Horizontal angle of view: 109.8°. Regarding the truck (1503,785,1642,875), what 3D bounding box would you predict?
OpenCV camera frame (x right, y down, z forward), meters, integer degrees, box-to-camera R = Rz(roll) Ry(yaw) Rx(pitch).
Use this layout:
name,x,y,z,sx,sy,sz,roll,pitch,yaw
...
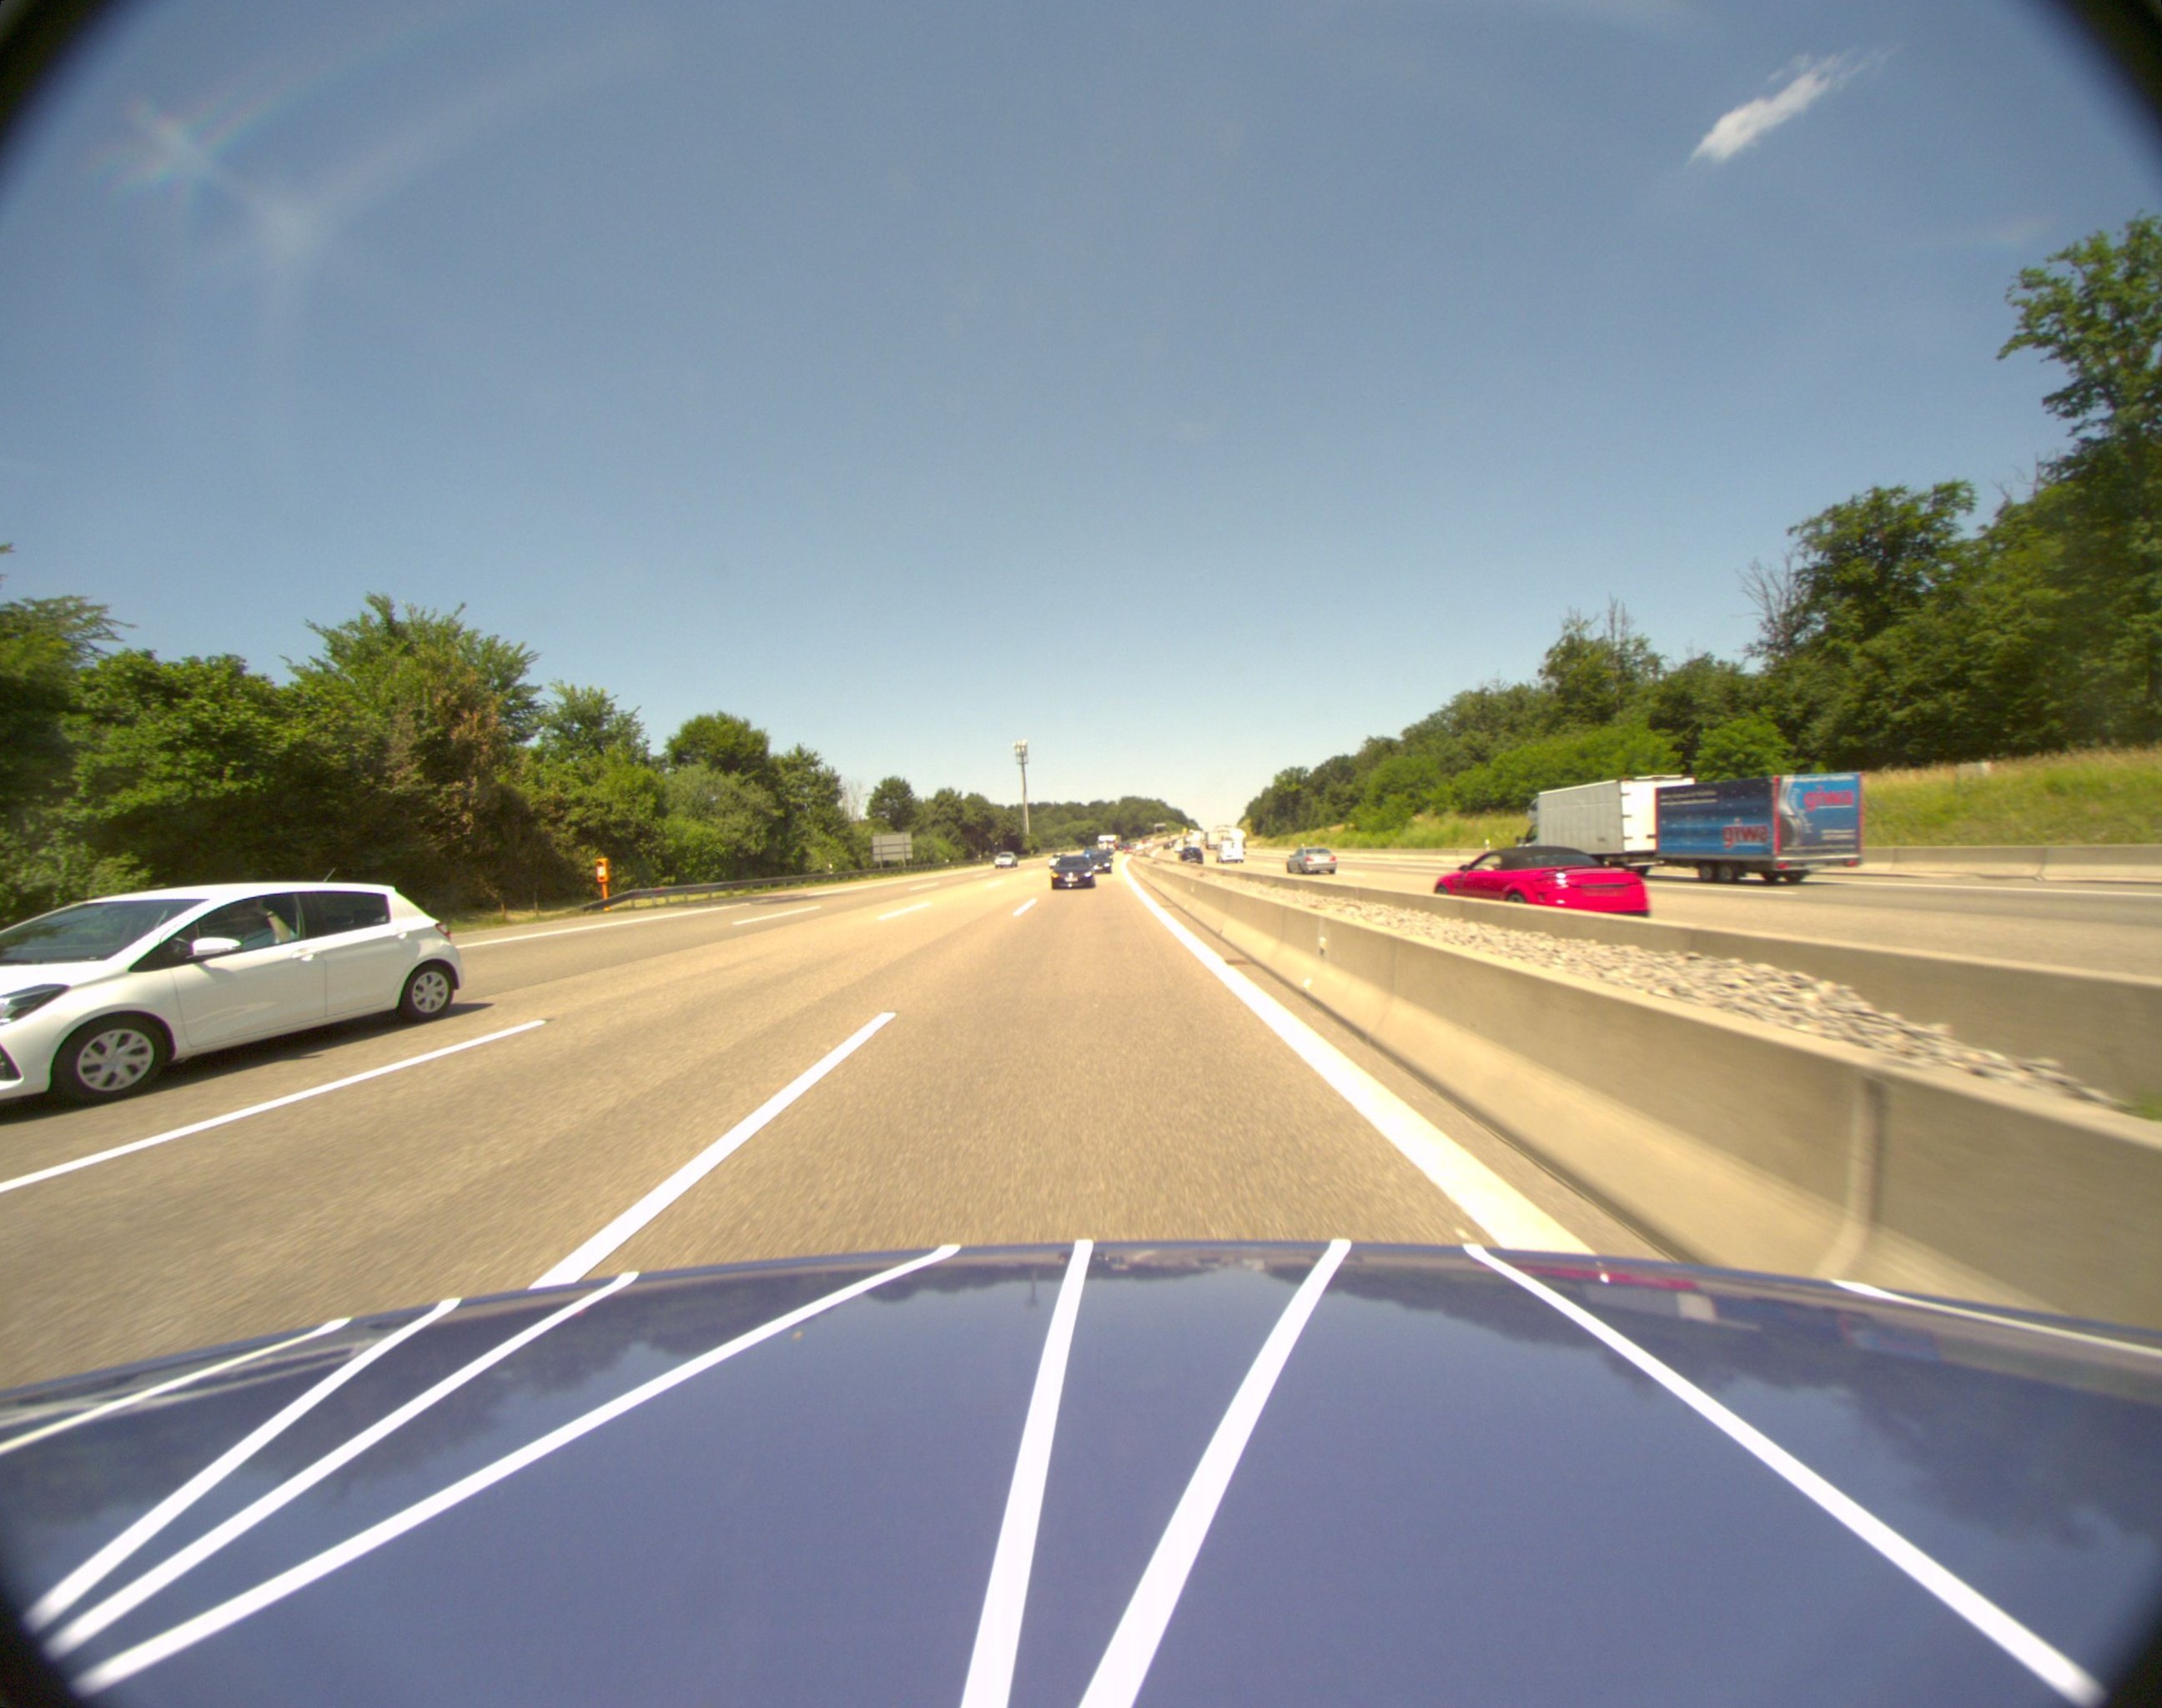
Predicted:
name,x,y,z,sx,sy,sz,roll,pitch,yaw
truck,19.081,-0.900,29.786,2.494,3.148,4.401,-3,1,0

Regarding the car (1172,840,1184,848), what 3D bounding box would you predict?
name,x,y,z,sx,sy,sz,roll,pitch,yaw
car,19.393,-1.951,152.112,1.998,1.451,5.048,-2,1,5

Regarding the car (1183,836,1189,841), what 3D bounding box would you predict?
name,x,y,z,sx,sy,sz,roll,pitch,yaw
car,36.090,-5.270,262.080,1.779,1.456,4.000,-3,2,5

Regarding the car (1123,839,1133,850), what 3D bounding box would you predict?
name,x,y,z,sx,sy,sz,roll,pitch,yaw
car,9.799,-1.995,159.220,1.998,2.001,4.001,-4,0,3

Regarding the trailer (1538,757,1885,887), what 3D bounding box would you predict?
name,x,y,z,sx,sy,sz,roll,pitch,yaw
trailer,19.050,-0.942,24.380,2.481,3.136,10.477,-3,1,1

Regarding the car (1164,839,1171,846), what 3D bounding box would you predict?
name,x,y,z,sx,sy,sz,roll,pitch,yaw
car,22.294,-2.983,195.092,1.677,1.488,4.953,-3,2,6

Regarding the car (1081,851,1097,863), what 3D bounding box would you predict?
name,x,y,z,sx,sy,sz,roll,pitch,yaw
car,1.164,0.424,107.071,1.998,1.521,4.234,-3,2,3

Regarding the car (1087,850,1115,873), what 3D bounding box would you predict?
name,x,y,z,sx,sy,sz,roll,pitch,yaw
car,1.399,0.492,52.443,1.769,1.495,4.001,-1,-1,3

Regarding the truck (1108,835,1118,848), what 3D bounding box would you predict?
name,x,y,z,sx,sy,sz,roll,pitch,yaw
truck,8.566,-3.408,204.332,2.434,3.458,7.022,-3,2,4

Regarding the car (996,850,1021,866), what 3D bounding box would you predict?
name,x,y,z,sx,sy,sz,roll,pitch,yaw
car,-7.683,0.379,80.482,1.998,1.521,4.000,-2,1,3

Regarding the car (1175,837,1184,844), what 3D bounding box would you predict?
name,x,y,z,sx,sy,sz,roll,pitch,yaw
car,25.992,-3.563,200.256,2.007,2.002,5.186,-2,1,6

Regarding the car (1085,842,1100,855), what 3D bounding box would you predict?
name,x,y,z,sx,sy,sz,roll,pitch,yaw
car,1.884,-0.954,128.075,1.997,2.002,4.001,-3,2,7

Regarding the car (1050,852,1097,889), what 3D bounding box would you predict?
name,x,y,z,sx,sy,sz,roll,pitch,yaw
car,-0.271,0.676,33.406,1.760,1.431,4.000,-2,1,3

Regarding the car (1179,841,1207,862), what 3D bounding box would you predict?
name,x,y,z,sx,sy,sz,roll,pitch,yaw
car,9.732,-0.236,66.371,1.831,1.652,4.916,-3,2,3

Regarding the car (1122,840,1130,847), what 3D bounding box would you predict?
name,x,y,z,sx,sy,sz,roll,pitch,yaw
car,11.926,-2.753,199.885,1.998,1.848,4.000,-3,2,4

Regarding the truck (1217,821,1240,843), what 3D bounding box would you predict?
name,x,y,z,sx,sy,sz,roll,pitch,yaw
truck,25.078,-3.690,129.774,2.710,3.523,6.620,-3,2,2

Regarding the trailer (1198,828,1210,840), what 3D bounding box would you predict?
name,x,y,z,sx,sy,sz,roll,pitch,yaw
trailer,43.464,-7.103,268.592,3.236,4.014,15.290,-2,1,7

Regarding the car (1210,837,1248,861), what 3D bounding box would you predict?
name,x,y,z,sx,sy,sz,roll,pitch,yaw
car,13.528,-0.488,70.019,2.201,2.043,7.140,-2,1,1

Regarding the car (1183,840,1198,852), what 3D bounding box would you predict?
name,x,y,z,sx,sy,sz,roll,pitch,yaw
car,16.292,-1.207,113.454,1.679,1.518,4.610,-3,2,2

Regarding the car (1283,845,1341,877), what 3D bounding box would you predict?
name,x,y,z,sx,sy,sz,roll,pitch,yaw
car,11.823,0.307,39.184,1.704,1.394,4.350,-3,2,2

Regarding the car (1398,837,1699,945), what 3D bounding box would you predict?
name,x,y,z,sx,sy,sz,roll,pitch,yaw
car,7.611,0.490,13.209,2.053,1.434,5.220,-2,1,1

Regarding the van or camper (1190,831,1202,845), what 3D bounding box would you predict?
name,x,y,z,sx,sy,sz,roll,pitch,yaw
van or camper,26.031,-3.622,171.554,2.563,2.914,7.353,-2,1,8

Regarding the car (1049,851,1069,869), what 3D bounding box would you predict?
name,x,y,z,sx,sy,sz,roll,pitch,yaw
car,-2.039,0.526,71.183,1.730,1.521,3.740,-2,1,0

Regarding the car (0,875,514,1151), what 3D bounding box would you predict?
name,x,y,z,sx,sy,sz,roll,pitch,yaw
car,-7.602,1.087,6.665,1.754,1.510,4.483,-2,1,1

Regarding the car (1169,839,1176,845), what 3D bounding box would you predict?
name,x,y,z,sx,sy,sz,roll,pitch,yaw
car,26.832,-3.650,222.803,1.876,1.624,5.164,-2,1,6

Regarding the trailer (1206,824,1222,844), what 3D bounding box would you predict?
name,x,y,z,sx,sy,sz,roll,pitch,yaw
trailer,30.883,-4.804,176.982,3.037,4.336,14.281,-3,2,8

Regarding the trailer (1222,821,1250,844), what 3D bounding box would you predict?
name,x,y,z,sx,sy,sz,roll,pitch,yaw
trailer,24.809,-3.442,122.219,2.658,3.515,10.493,-3,2,2
